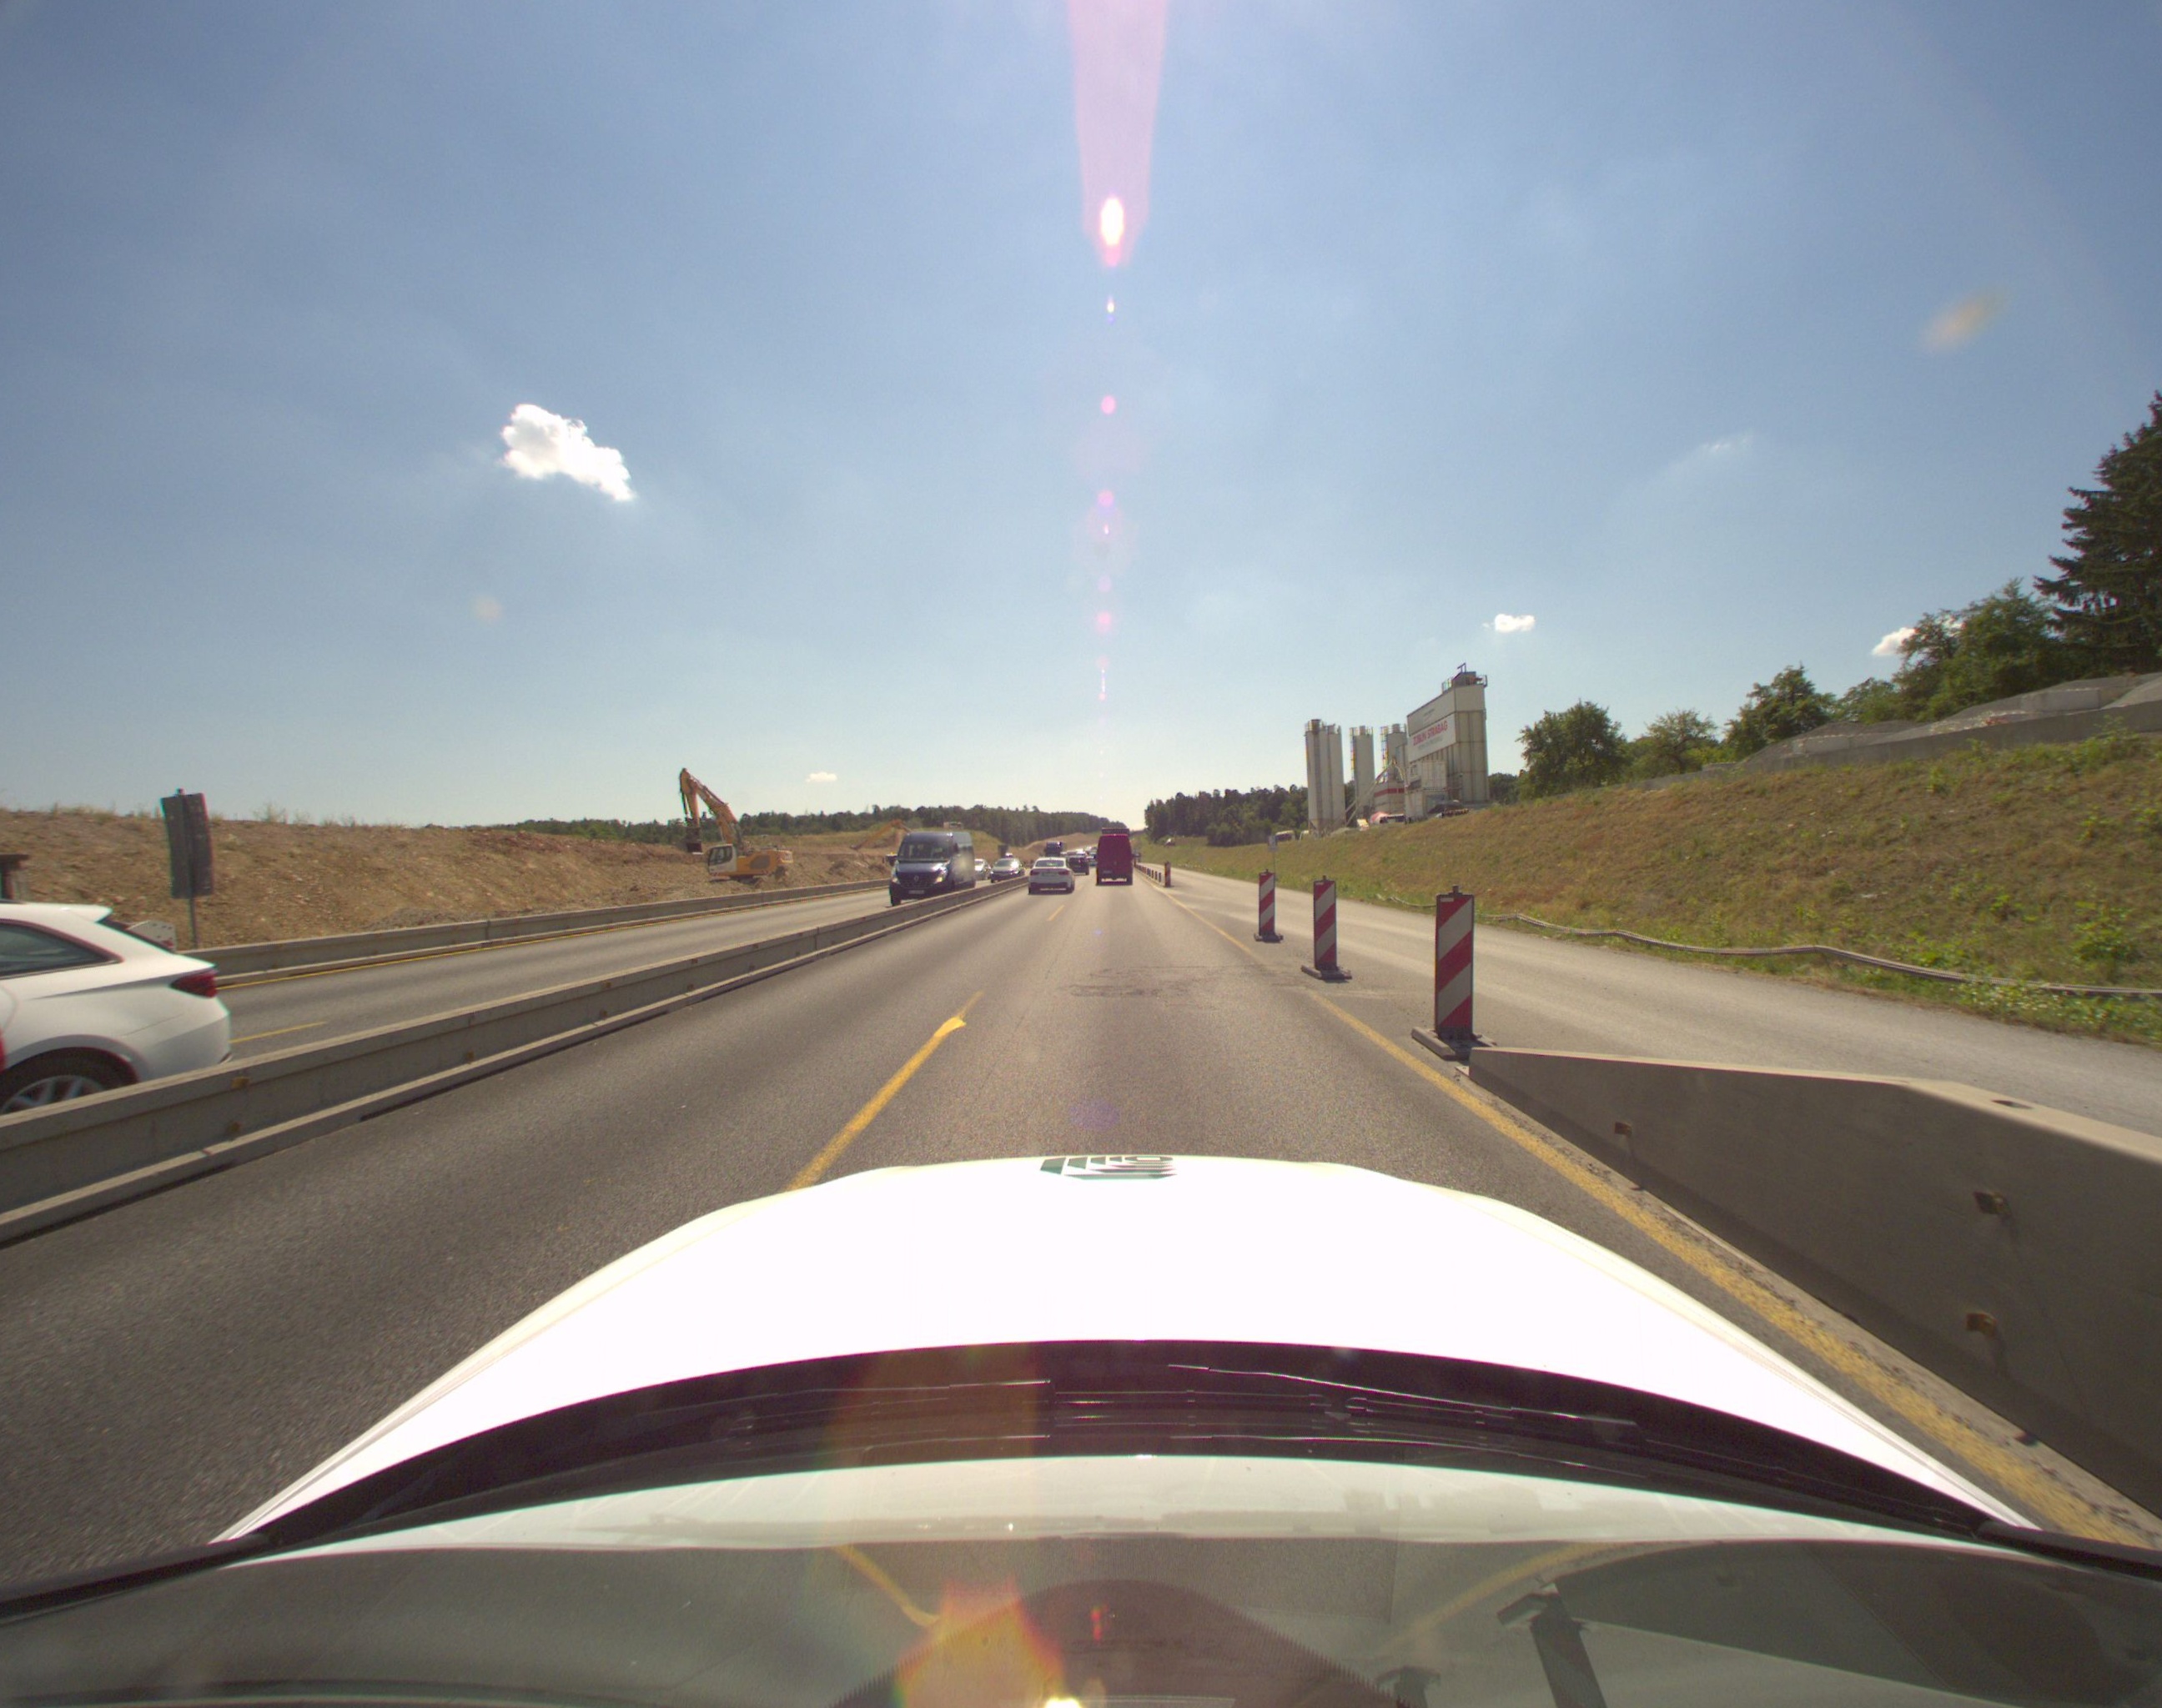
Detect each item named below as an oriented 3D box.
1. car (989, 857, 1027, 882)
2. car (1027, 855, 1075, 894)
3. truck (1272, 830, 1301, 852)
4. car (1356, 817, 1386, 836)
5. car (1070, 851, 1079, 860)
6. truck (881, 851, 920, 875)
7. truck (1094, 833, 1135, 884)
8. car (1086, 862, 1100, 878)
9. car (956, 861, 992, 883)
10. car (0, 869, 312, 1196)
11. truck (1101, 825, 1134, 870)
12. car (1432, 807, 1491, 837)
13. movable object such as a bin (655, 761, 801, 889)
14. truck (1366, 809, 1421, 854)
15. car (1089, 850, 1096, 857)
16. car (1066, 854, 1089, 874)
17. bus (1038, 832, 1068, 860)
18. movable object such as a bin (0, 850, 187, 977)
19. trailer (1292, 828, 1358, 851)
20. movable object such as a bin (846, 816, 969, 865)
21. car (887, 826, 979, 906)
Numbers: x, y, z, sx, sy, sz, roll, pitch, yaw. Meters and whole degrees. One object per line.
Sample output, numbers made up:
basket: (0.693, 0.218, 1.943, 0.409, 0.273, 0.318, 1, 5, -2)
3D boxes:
car: (-4.521, 0.933, 50.849, 1.779, 1.476, 4.527, 0, 0, 2)
car: (-1.228, 0.835, 35.456, 1.788, 1.534, 5.074, -1, 0, 1)
truck: (30.533, -1.919, 120.994, 2.869, 3.113, 6.048, -2, 0, 26)
car: (33.219, -3.124, 93.436, 1.986, 2.013, 4.430, -2, 0, 2)
car: (-1.501, 0.278, 189.898, 1.756, 2.013, 3.829, -2, 0, 2)
truck: (-21.065, 1.014, 95.582, 2.306, 2.617, 8.415, -2, 0, 2)
truck: (1.942, 0.240, 45.751, 2.103, 2.633, 6.490, -2, 0, 3)
car: (1.569, 2.122, 106.866, 1.756, 2.013, 3.829, -2, 0, 2)
car: (-7.326, 1.208, 56.234, 1.684, 1.433, 4.451, 0, 0, 2)
car: (-5.729, 0.839, 2.780, 1.672, 1.442, 4.672, -2, 0, 1)
truck: (3.670, -0.582, 80.484, 3.003, 4.153, 8.279, -2, 0, 3)
car: (28.400, -2.370, 61.008, 2.214, 2.013, 4.995, -2, 0, 2)
movable object such as a bin: (-22.485, -1.771, 52.132, 7.604, 7.713, 3.449, -2, 0, 3)
truck: (32.342, -2.251, 84.838, 3.414, 4.296, 9.955, -2, 0, 10)
car: (3.580, -0.110, 244.784, 1.986, 1.904, 4.002, -2, 0, 2)
car: (-0.284, 0.802, 66.227, 1.789, 1.534, 3.931, -2, 0, 0)
bus: (-4.652, -1.295, 139.064, 3.928, 4.415, 17.206, -2, 0, 2)
movable object such as a bin: (-21.765, 1.178, 15.538, 1.695, 2.461, 6.748, -2, 0, 2)
trailer: (36.555, -2.201, 122.094, 9.005, 3.229, 3.317, -2, 0, -13)
movable object such as a bin: (-27.787, -2.156, 131.115, 18.650, 7.231, 3.615, -2, 0, 0)
car: (-4.995, 0.383, 28.342, 1.948, 2.468, 5.360, -2, 0, 2)
